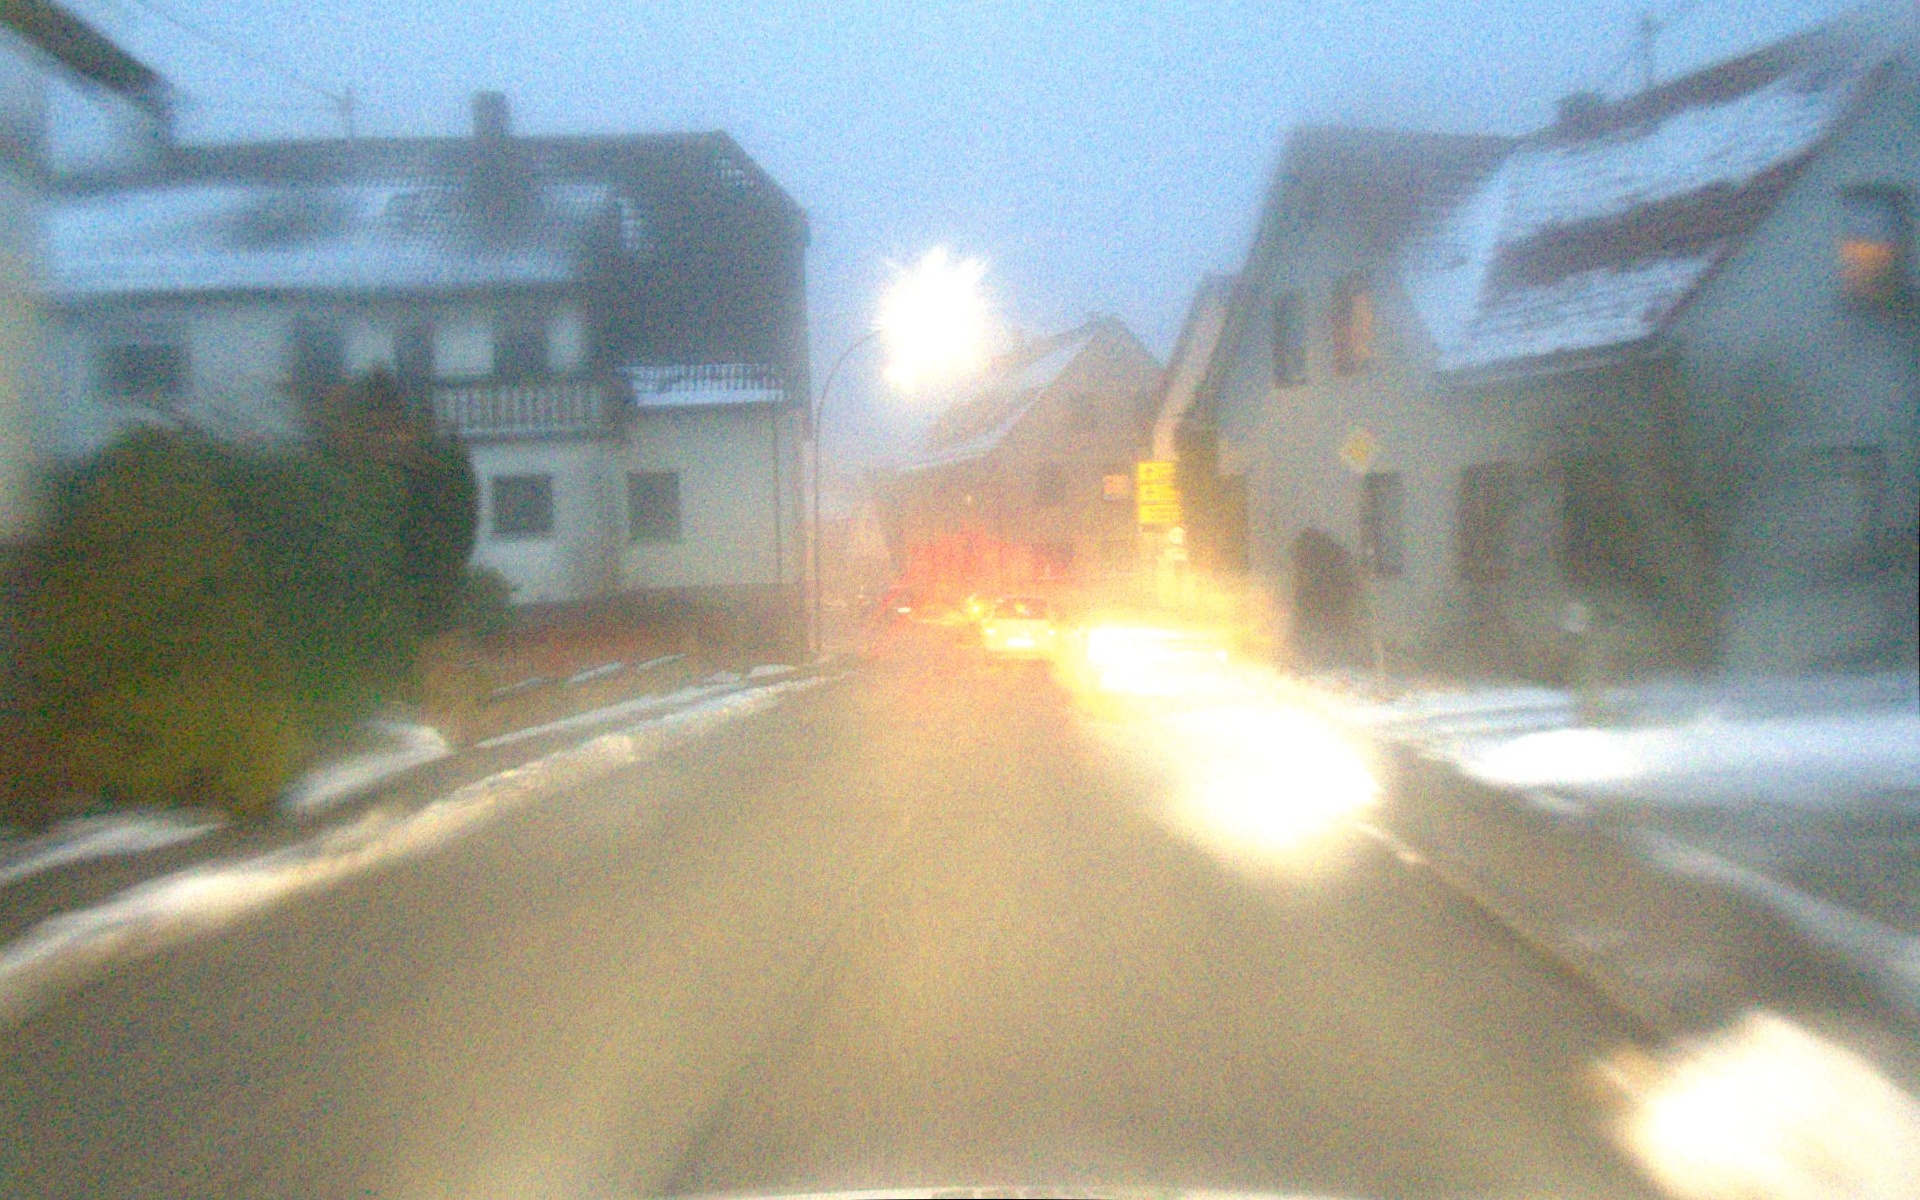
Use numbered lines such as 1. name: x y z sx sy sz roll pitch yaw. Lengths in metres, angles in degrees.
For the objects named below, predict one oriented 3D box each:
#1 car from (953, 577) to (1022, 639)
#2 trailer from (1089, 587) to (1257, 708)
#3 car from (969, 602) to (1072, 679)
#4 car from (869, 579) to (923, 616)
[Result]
1. car: 0.778 0.259 48.836 1.953 1.758 3.999 0 -1 0
2. trailer: 2.793 0.533 21.742 1.951 1.412 4.735 0 0 7
3. car: 1.347 0.837 35.150 1.951 1.534 4.002 0 -1 5
4. car: -2.814 -0.125 72.010 1.875 1.506 4.274 -2 1 -8
